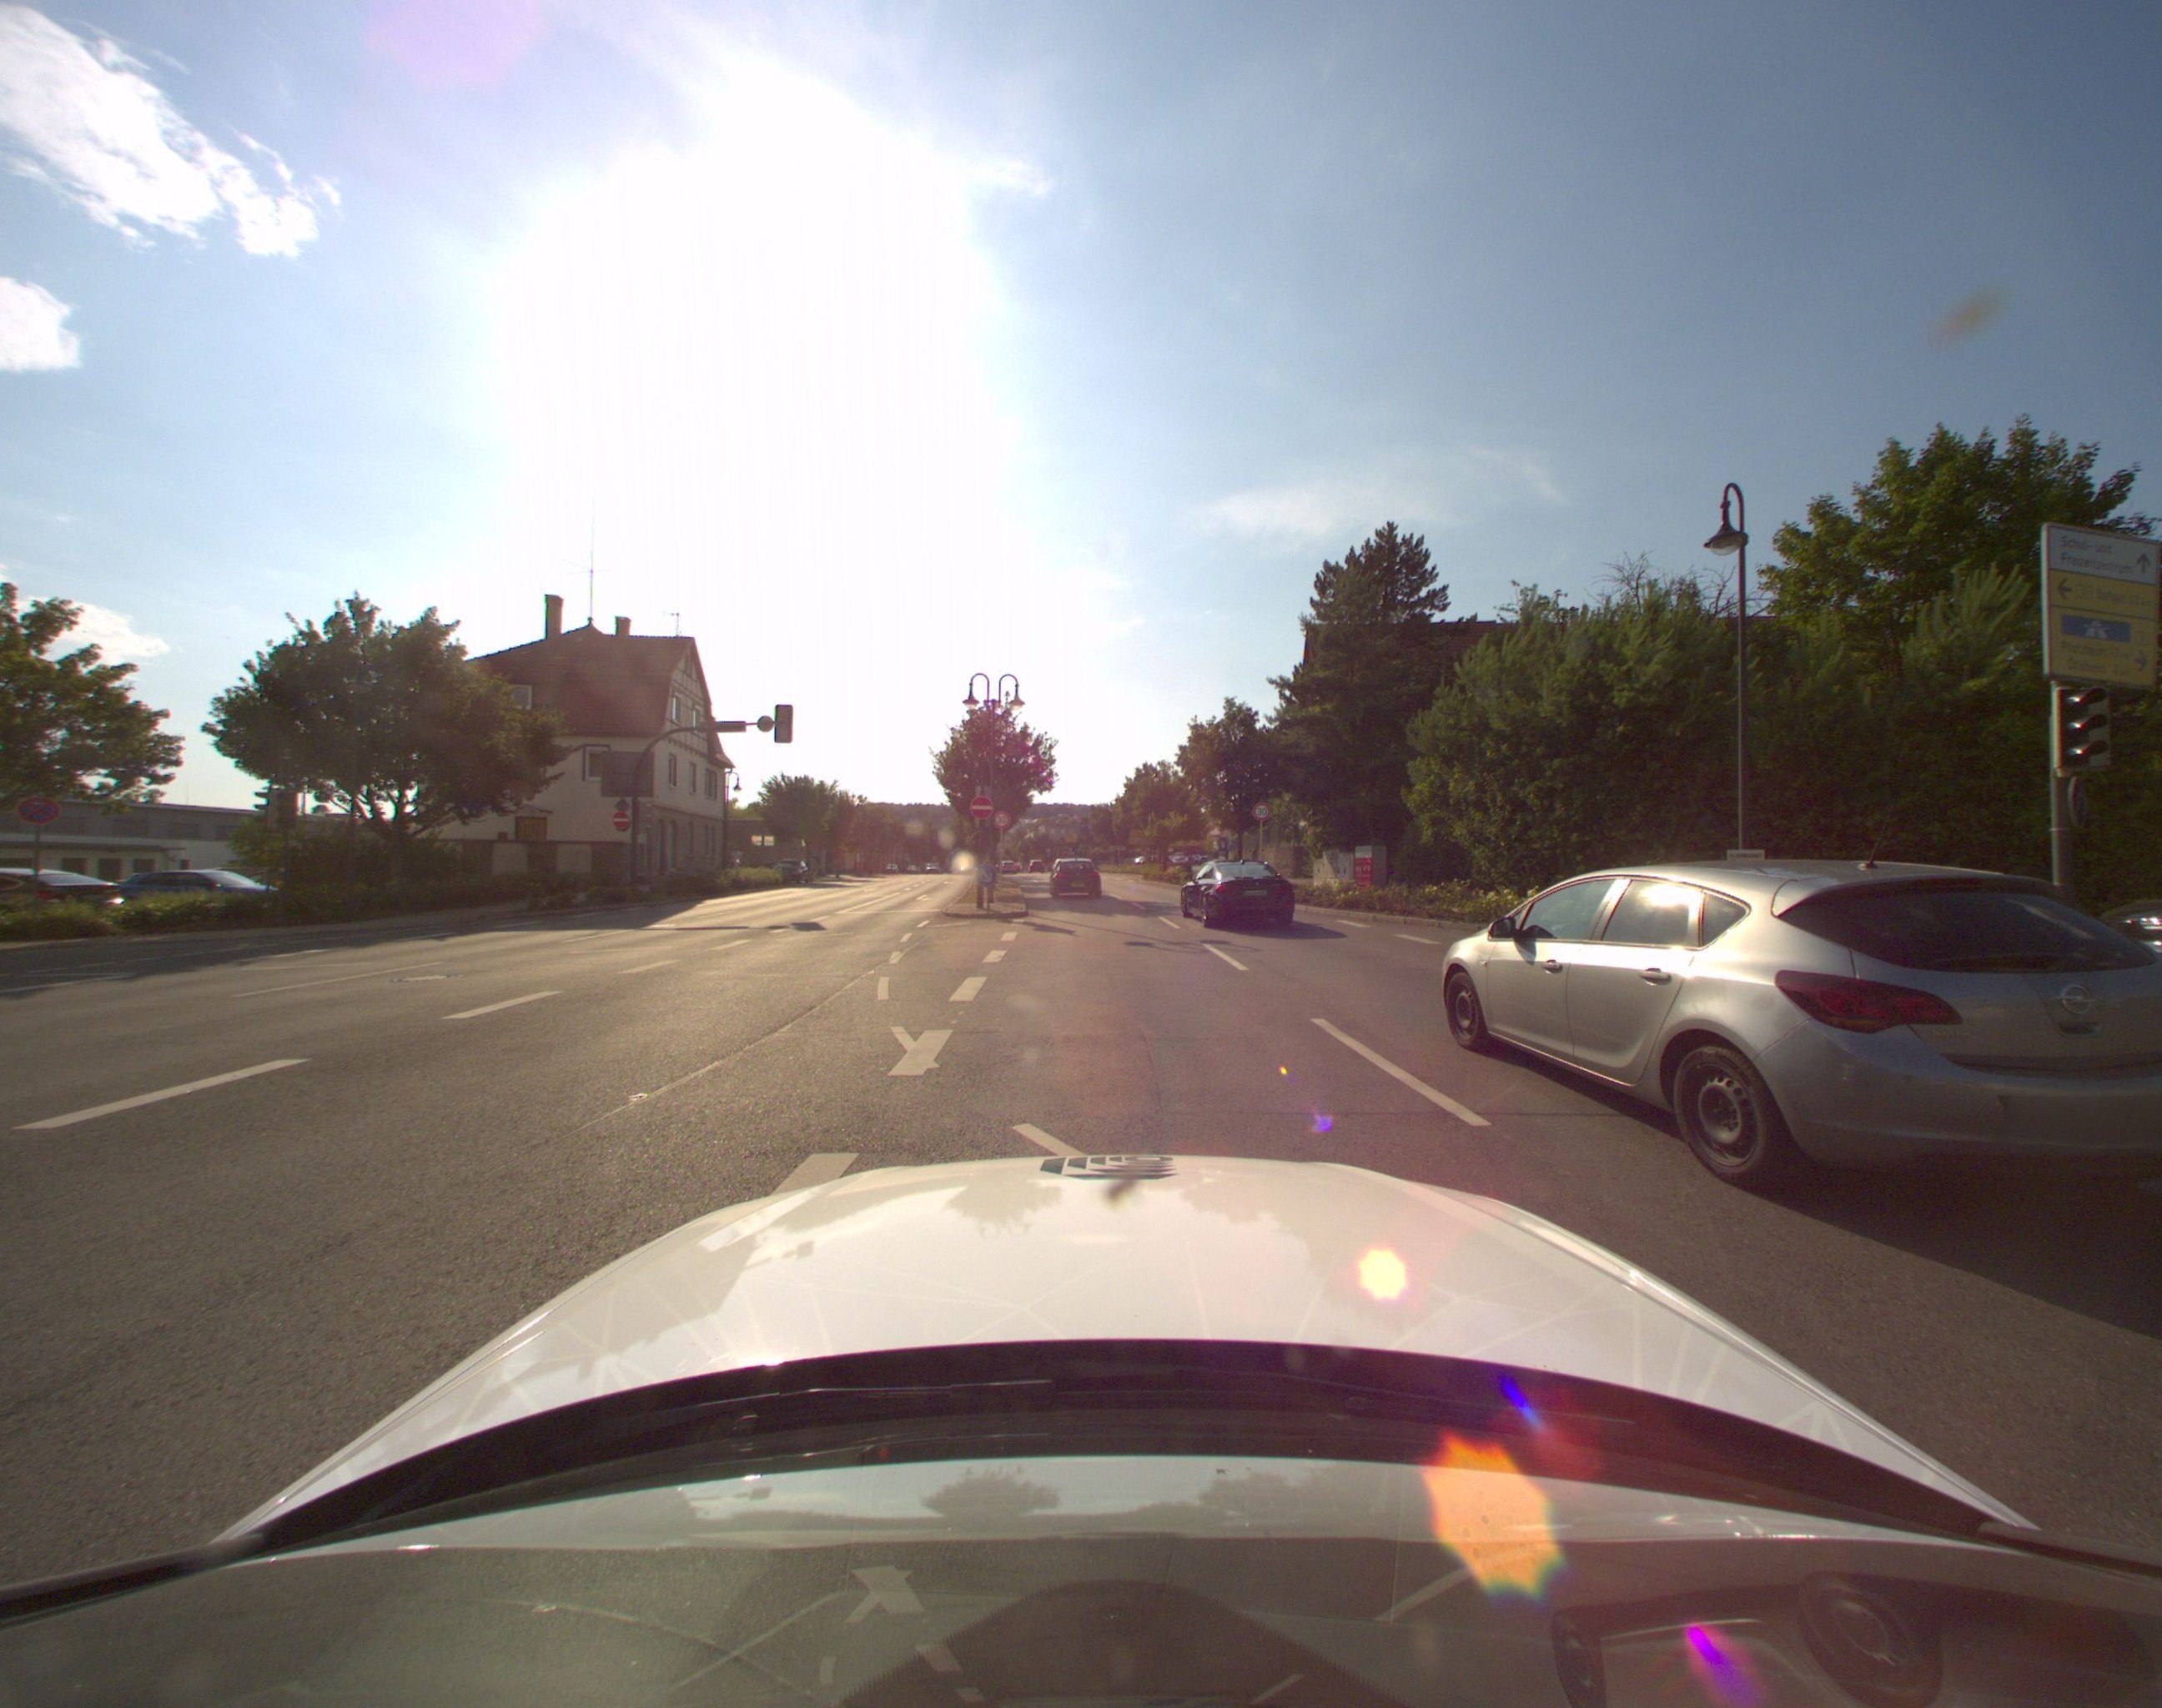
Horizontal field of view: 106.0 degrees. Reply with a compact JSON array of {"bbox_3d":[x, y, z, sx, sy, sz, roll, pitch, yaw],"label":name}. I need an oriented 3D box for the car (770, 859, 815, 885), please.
[{"bbox_3d":[-18.174,1.106,51.435,1.754,1.454,4.122,4,-1,-7],"label":"car"}]

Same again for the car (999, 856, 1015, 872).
[{"bbox_3d":[-8.799,1.196,96.467,1.755,1.769,3.960,-1,0,-8],"label":"car"}]

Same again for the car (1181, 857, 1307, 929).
[{"bbox_3d":[3.422,0.788,17.977,1.914,1.364,4.352,-1,-1,0],"label":"car"}]

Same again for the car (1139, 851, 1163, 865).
[{"bbox_3d":[11.128,0.686,129.420,2.120,2.130,5.155,-1,0,25],"label":"car"}]

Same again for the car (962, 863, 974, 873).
[{"bbox_3d":[-18.917,2.309,136.476,1.728,1.679,3.991,-1,0,-6],"label":"car"}]

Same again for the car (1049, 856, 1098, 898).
[{"bbox_3d":[-0.284,0.819,30.828,1.716,1.490,4.351,0,0,0],"label":"car"}]

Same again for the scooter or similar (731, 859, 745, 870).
[{"bbox_3d":[-18.539,0.569,43.978,0.443,0.582,1.041,-1,0,-8],"label":"scooter or similar"}]

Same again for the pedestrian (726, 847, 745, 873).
[{"bbox_3d":[-19.029,0.324,44.905,0.812,1.394,0.705,-1,0,-9],"label":"pedestrian"}]

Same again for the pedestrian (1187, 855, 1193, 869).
[{"bbox_3d":[13.540,0.962,101.272,0.693,1.703,0.950,-1,-1,1],"label":"pedestrian"}]

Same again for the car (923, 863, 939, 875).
[{"bbox_3d":[-18.560,1.881,100.958,1.754,1.361,4.473,-1,0,-7],"label":"car"}]

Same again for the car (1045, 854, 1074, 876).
[{"bbox_3d":[-1.851,0.878,68.835,1.924,1.769,4.442,-1,0,-8],"label":"car"}]

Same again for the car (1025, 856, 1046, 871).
[{"bbox_3d":[-5.677,1.141,101.780,2.215,1.769,4.442,-1,0,-8],"label":"car"}]

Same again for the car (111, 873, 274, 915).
[{"bbox_3d":[-33.344,1.472,30.666,3.914,1.400,1.744,-1,-1,-7],"label":"car"}]

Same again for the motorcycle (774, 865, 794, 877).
[{"bbox_3d":[-27.397,1.565,75.148,0.511,1.069,1.881,-1,-1,29],"label":"motorcycle"}]

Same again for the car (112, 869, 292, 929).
[{"bbox_3d":[-26.588,1.328,24.748,3.286,1.639,1.742,-1,-1,-10],"label":"car"}]

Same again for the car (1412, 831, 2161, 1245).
[{"bbox_3d":[3.739,0.655,5.105,1.714,1.490,4.309,-1,0,2],"label":"car"}]

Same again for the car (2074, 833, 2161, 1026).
[{"bbox_3d":[10.738,0.583,5.945,4.217,1.567,1.803,-1,0,44],"label":"car"}]
